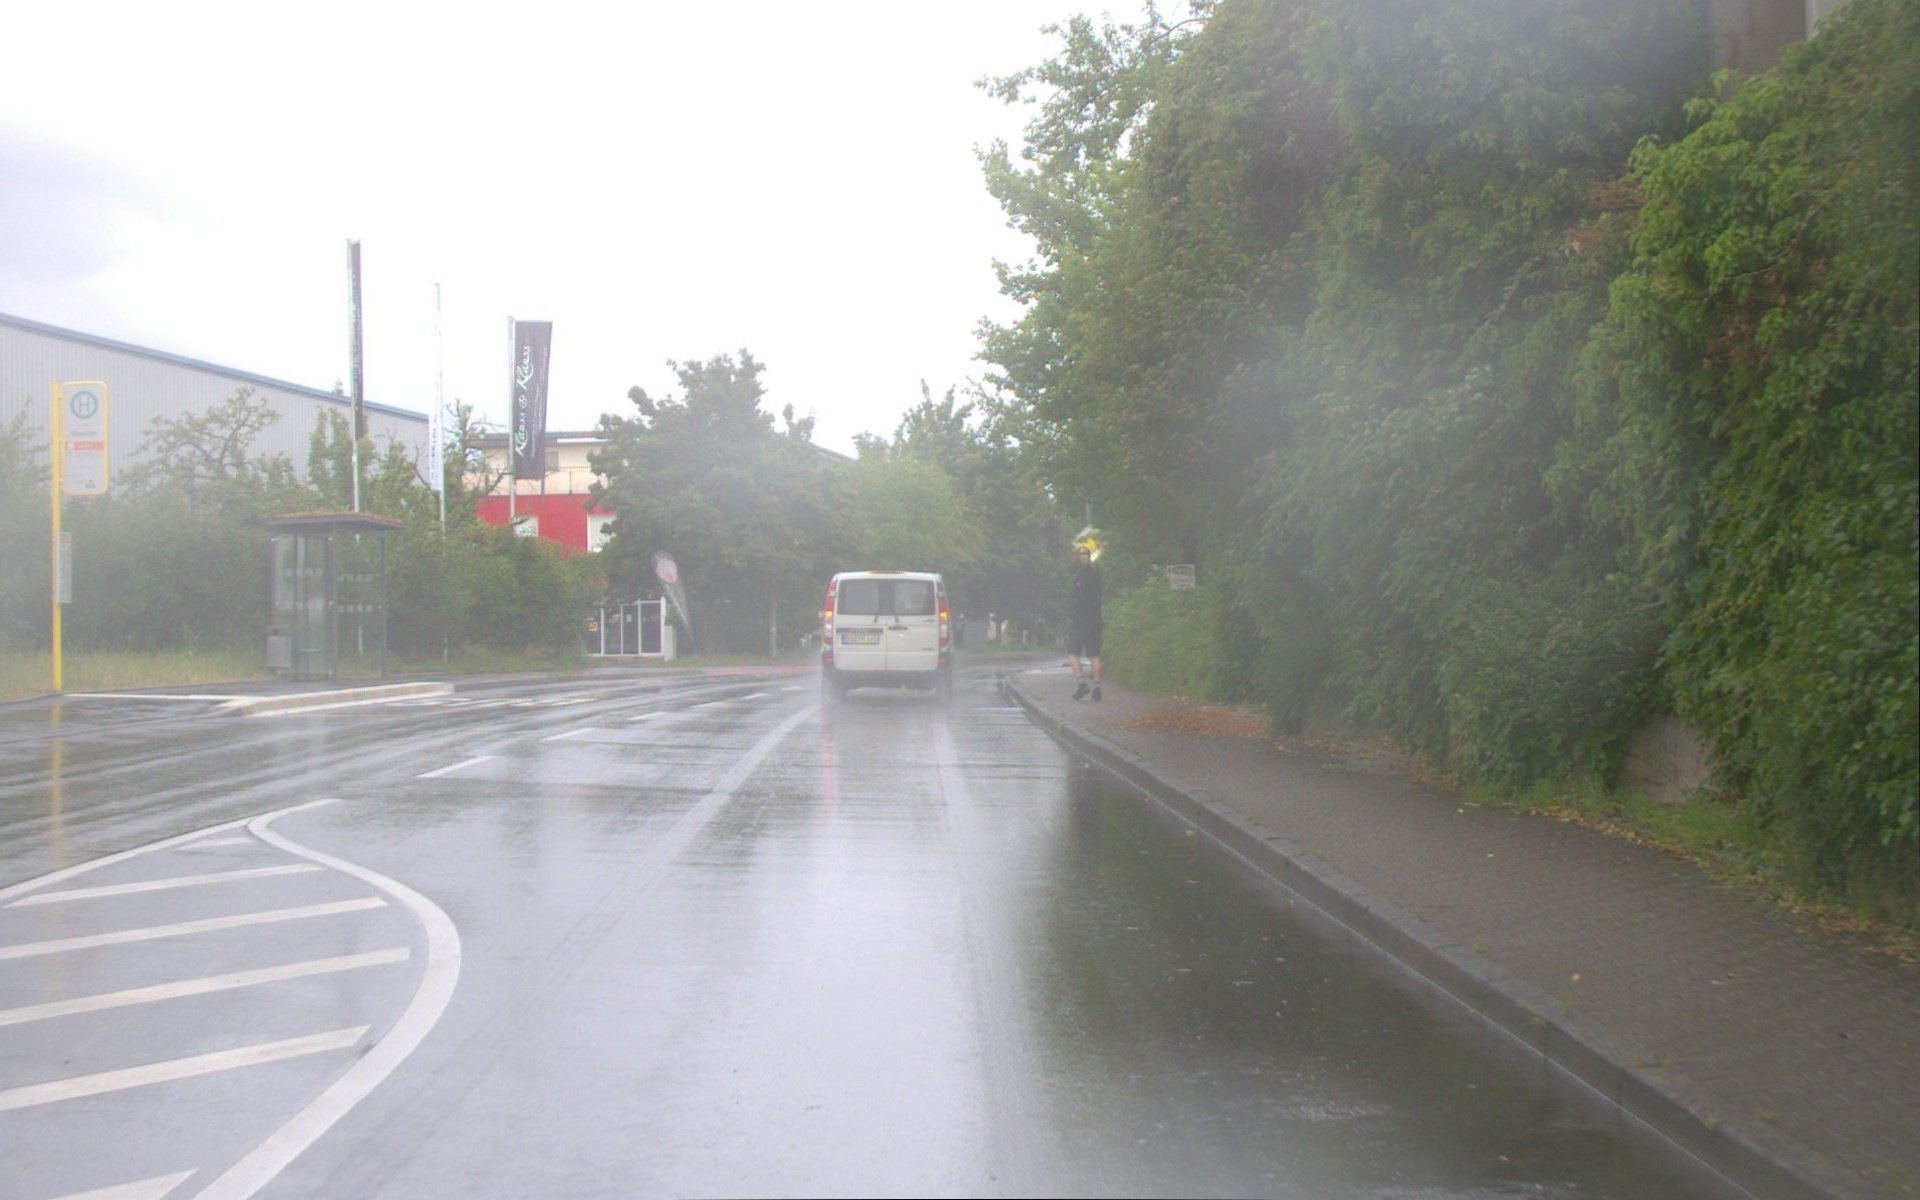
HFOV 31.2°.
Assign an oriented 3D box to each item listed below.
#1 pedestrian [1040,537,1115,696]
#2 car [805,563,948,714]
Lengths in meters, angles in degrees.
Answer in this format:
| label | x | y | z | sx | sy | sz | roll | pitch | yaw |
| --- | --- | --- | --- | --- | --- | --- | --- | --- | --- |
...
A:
| label | x | y | z | sx | sy | sz | roll | pitch | yaw |
| --- | --- | --- | --- | --- | --- | --- | --- | --- | --- |
| pedestrian | 1.452 | 0.205 | 42.532 | 0.776 | 1.900 | 0.728 | -3 | -1 | -1 |
| car | -1.181 | 0.523 | 50.742 | 1.899 | 2.011 | 5.373 | -3 | 0 | 0 |
